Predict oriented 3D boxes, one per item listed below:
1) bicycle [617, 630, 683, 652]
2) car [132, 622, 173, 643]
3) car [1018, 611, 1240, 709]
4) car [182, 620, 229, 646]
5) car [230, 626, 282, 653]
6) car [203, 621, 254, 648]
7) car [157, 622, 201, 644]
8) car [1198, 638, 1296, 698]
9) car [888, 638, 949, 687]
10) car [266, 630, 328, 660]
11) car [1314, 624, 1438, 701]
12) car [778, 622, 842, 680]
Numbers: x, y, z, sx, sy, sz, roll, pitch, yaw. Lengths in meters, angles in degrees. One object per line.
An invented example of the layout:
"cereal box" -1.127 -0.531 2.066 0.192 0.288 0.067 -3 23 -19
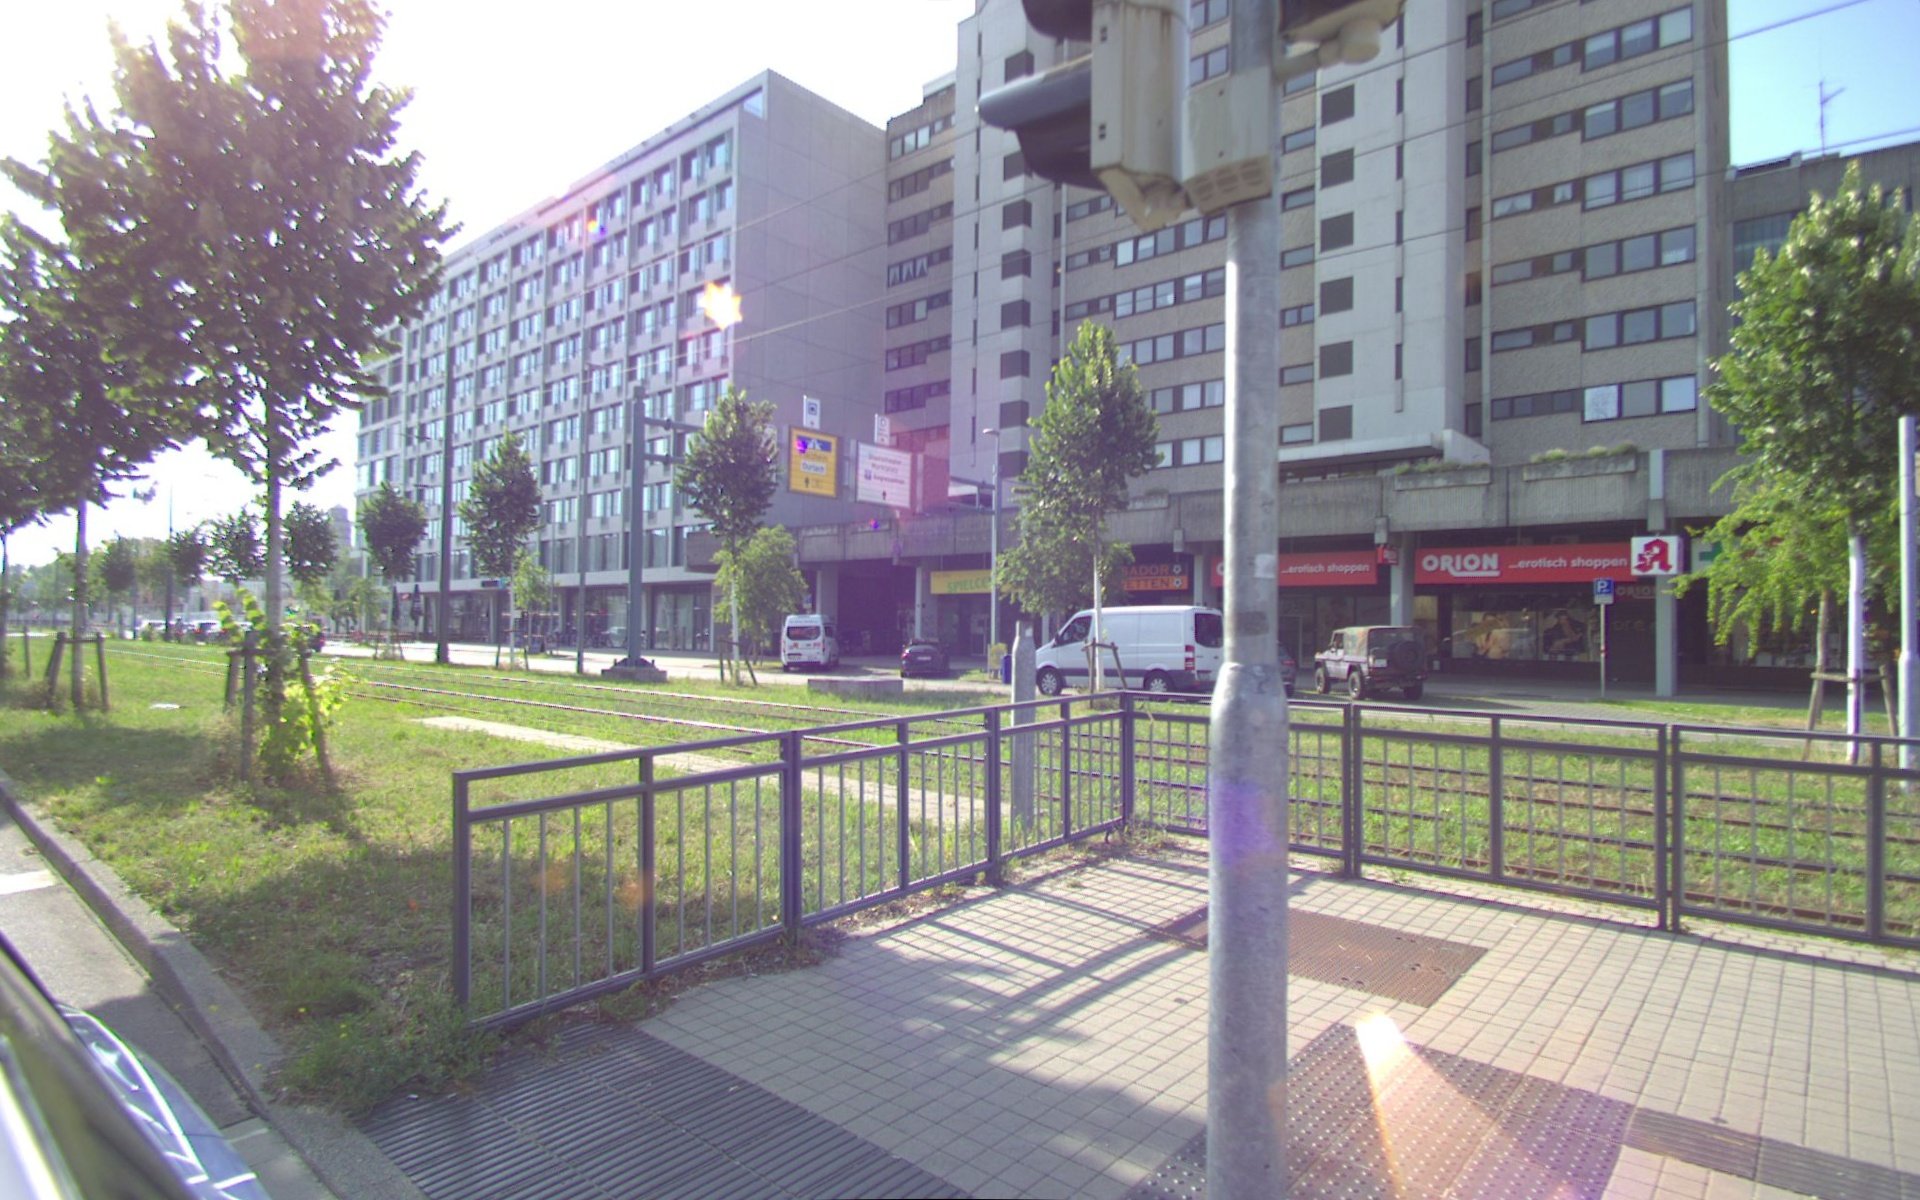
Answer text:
"bicycle" -20.062 2.636 65.536 3.936 1.377 1.128 2 -3 -40
"car" -61.034 2.472 76.450 3.999 1.536 1.763 -1 -3 42
"car" 4.205 1.456 25.835 5.331 2.256 2.025 -1 -3 41
"car" -48.873 2.137 65.507 4.001 1.586 1.787 -1 -3 44
"car" -40.054 2.226 57.572 3.642 1.498 1.721 -1 -3 44
"car" -44.759 2.093 61.892 4.001 1.586 1.787 -1 -3 44
"car" -54.207 2.278 70.216 4.001 1.486 1.787 -1 -3 44
"car" 8.421 1.960 30.067 1.854 1.618 4.109 1 -2 2
"car" -1.643 2.340 38.739 2.070 1.594 4.005 -1 -1 -5
"car" -34.353 2.322 52.417 4.001 1.492 1.787 -1 -3 44
"car" 11.538 1.691 28.395 1.854 1.983 4.109 1 -2 2
"car" -6.363 2.162 43.549 1.859 2.326 5.406 1 -2 1
